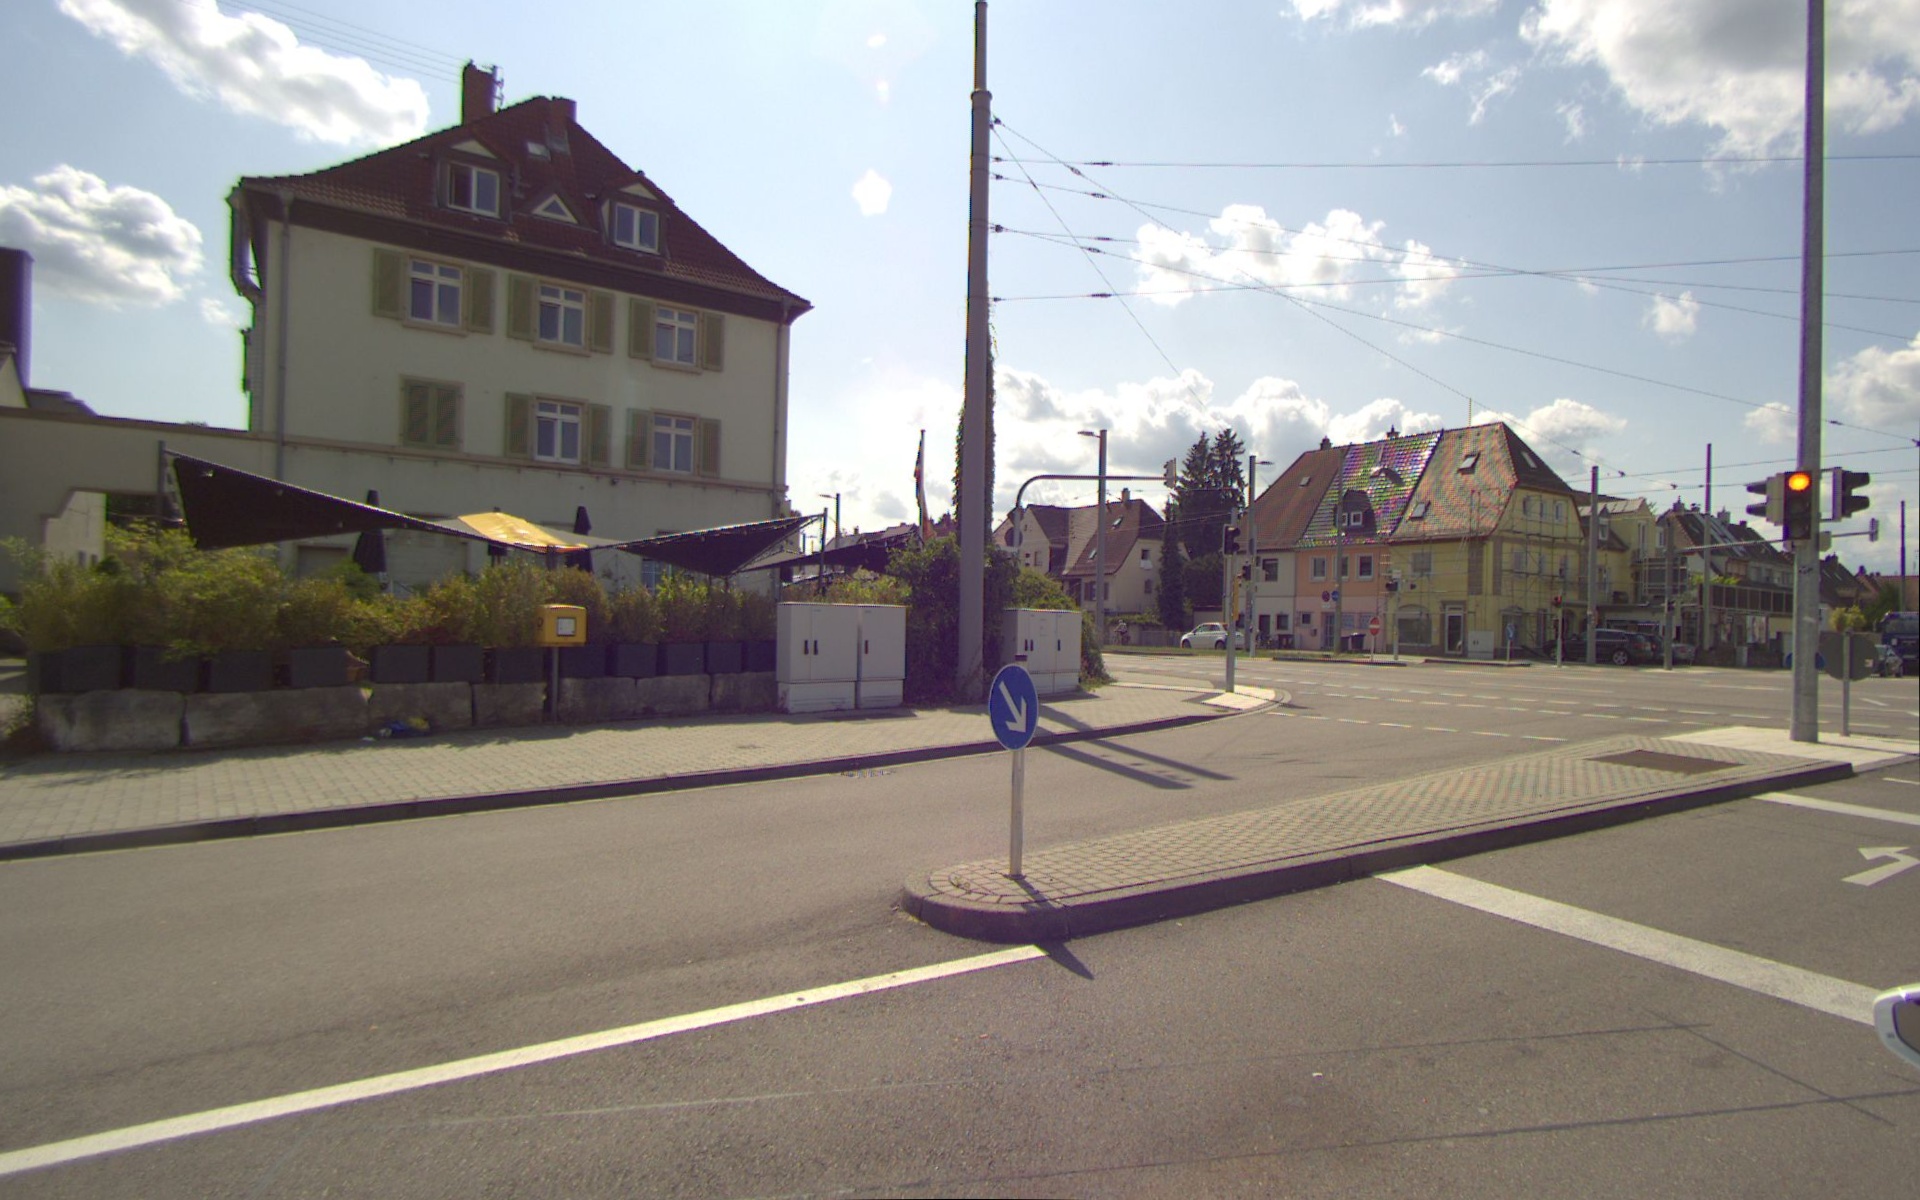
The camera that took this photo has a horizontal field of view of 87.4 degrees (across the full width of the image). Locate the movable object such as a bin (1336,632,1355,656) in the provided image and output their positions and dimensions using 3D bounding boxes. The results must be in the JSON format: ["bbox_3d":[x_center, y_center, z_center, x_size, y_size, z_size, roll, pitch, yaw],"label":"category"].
[{"bbox_3d":[20.889,2.371,54.463,0.674,1.277,0.677,2,0,-33],"label":"movable object such as a bin"}]

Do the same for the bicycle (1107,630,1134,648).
[{"bbox_3d":[10.513,2.547,65.887,0.687,1.092,1.888,1,-1,-33],"label":"bicycle"}]

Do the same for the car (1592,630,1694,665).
[{"bbox_3d":[35.084,2.424,51.686,1.422,1.513,4.103,2,0,-37],"label":"car"}]

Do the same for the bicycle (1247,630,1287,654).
[{"bbox_3d":[18.049,2.491,59.080,2.428,1.374,0.770,2,0,-29],"label":"bicycle"}]

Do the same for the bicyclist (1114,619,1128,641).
[{"bbox_3d":[10.563,1.964,65.852,0.571,1.416,0.718,1,-1,-33],"label":"bicyclist"}]

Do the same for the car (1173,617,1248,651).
[{"bbox_3d":[12.562,1.692,50.534,1.569,1.528,3.517,2,0,-34],"label":"car"}]

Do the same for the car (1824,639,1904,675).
[{"bbox_3d":[41.578,2.629,46.176,4.291,1.506,1.816,3,-2,-35],"label":"car"}]

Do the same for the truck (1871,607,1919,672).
[{"bbox_3d":[50.839,2.139,53.145,7.516,3.230,2.747,3,-2,-38],"label":"truck"}]

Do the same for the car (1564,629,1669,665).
[{"bbox_3d":[32.794,2.311,50.293,1.493,1.513,4.103,2,0,-37],"label":"car"}]

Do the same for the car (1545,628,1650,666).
[{"bbox_3d":[30.735,2.244,48.554,1.168,1.513,4.103,2,0,-37],"label":"car"}]

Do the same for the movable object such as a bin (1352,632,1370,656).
[{"bbox_3d":[22.016,2.409,55.150,0.674,1.277,0.677,2,0,-33],"label":"movable object such as a bin"}]
